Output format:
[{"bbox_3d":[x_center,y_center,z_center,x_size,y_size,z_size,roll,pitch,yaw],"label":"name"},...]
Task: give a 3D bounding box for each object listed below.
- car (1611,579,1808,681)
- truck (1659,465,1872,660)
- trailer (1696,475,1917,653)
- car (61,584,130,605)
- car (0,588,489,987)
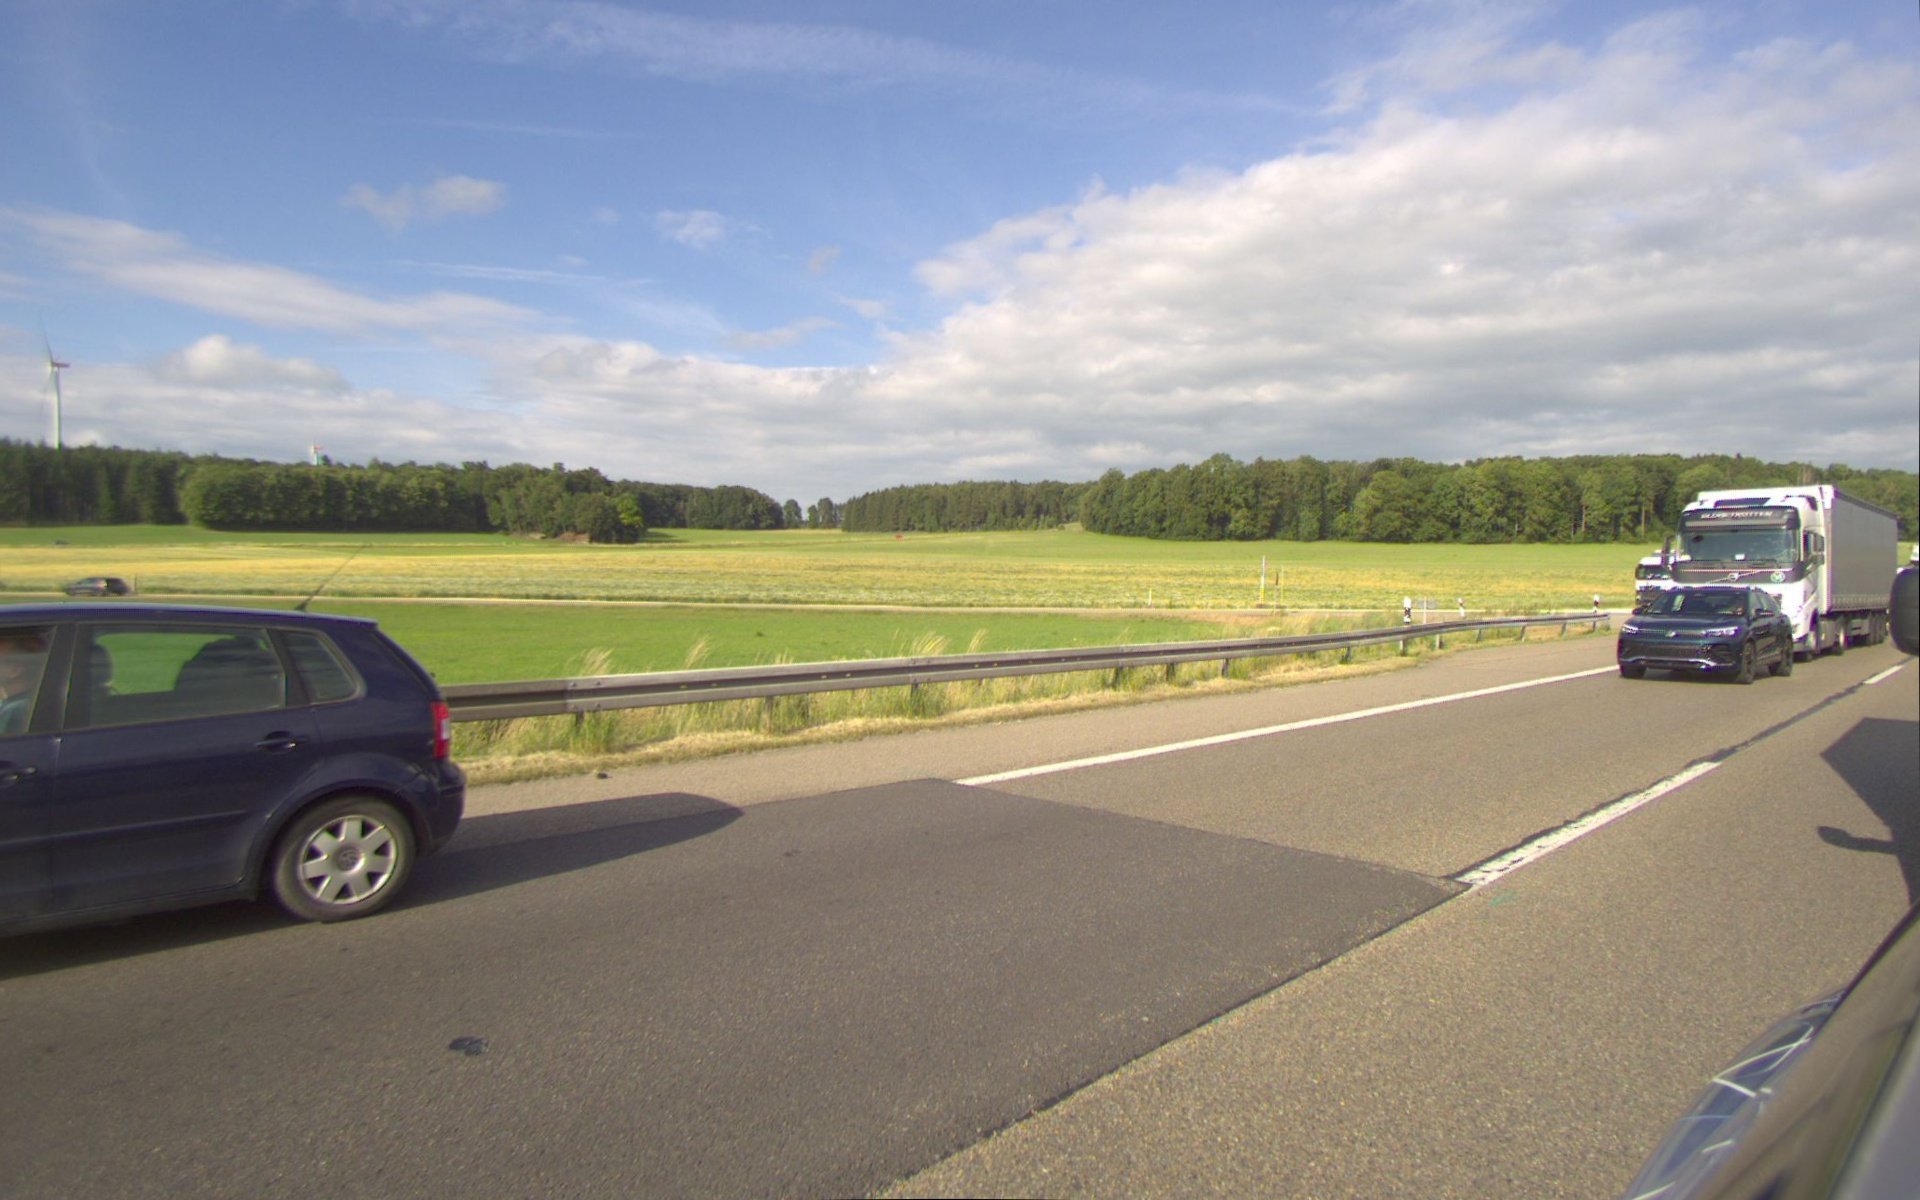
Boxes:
[{"bbox_3d":[13.407,0.447,18.037,4.047,1.616,1.997,-1,1,-41],"label":"car"},{"bbox_3d":[19.306,-0.820,24.127,6.387,4.040,2.840,-1,0,-41],"label":"truck"},{"bbox_3d":[23.647,-0.881,27.903,11.916,4.032,2.824,-1,0,-41],"label":"trailer"},{"bbox_3d":[-65.601,-0.418,76.793,4.154,1.505,1.832,0,0,12],"label":"car"},{"bbox_3d":[-4.213,0.693,4.277,3.710,1.464,1.712,-1,1,-42],"label":"car"}]
